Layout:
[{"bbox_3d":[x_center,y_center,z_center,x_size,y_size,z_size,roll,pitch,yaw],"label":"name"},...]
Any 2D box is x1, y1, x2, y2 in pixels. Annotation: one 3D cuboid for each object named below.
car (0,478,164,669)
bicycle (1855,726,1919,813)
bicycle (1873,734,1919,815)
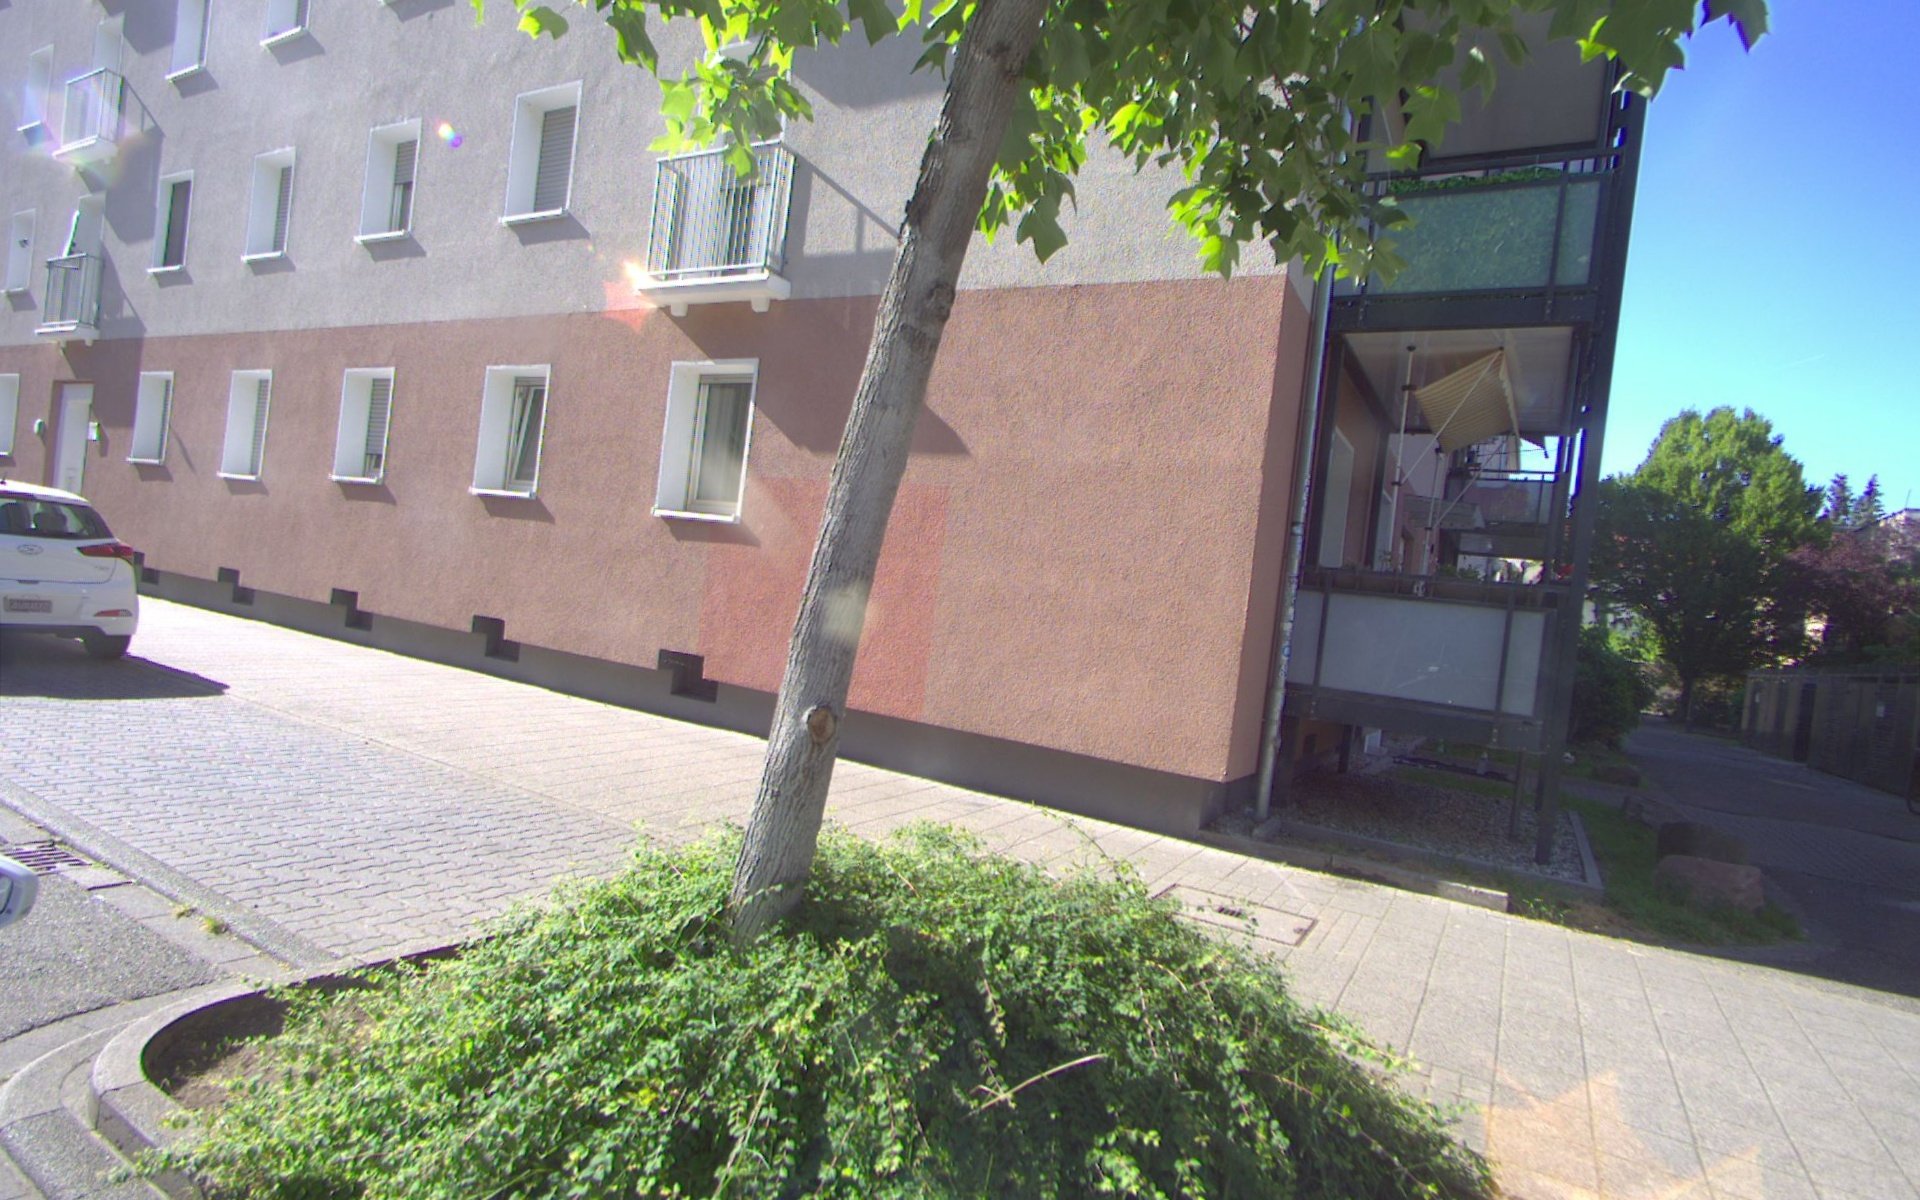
[{"bbox_3d":[-9.094,-0.386,9.019,3.730,1.505,1.733,7,2,29],"label":"car"},{"bbox_3d":[14.917,2.677,15.520,1.455,1.220,0.556,7,1,32],"label":"bicycle"},{"bbox_3d":[14.701,2.685,14.972,1.455,1.112,0.556,7,1,32],"label":"bicycle"}]
